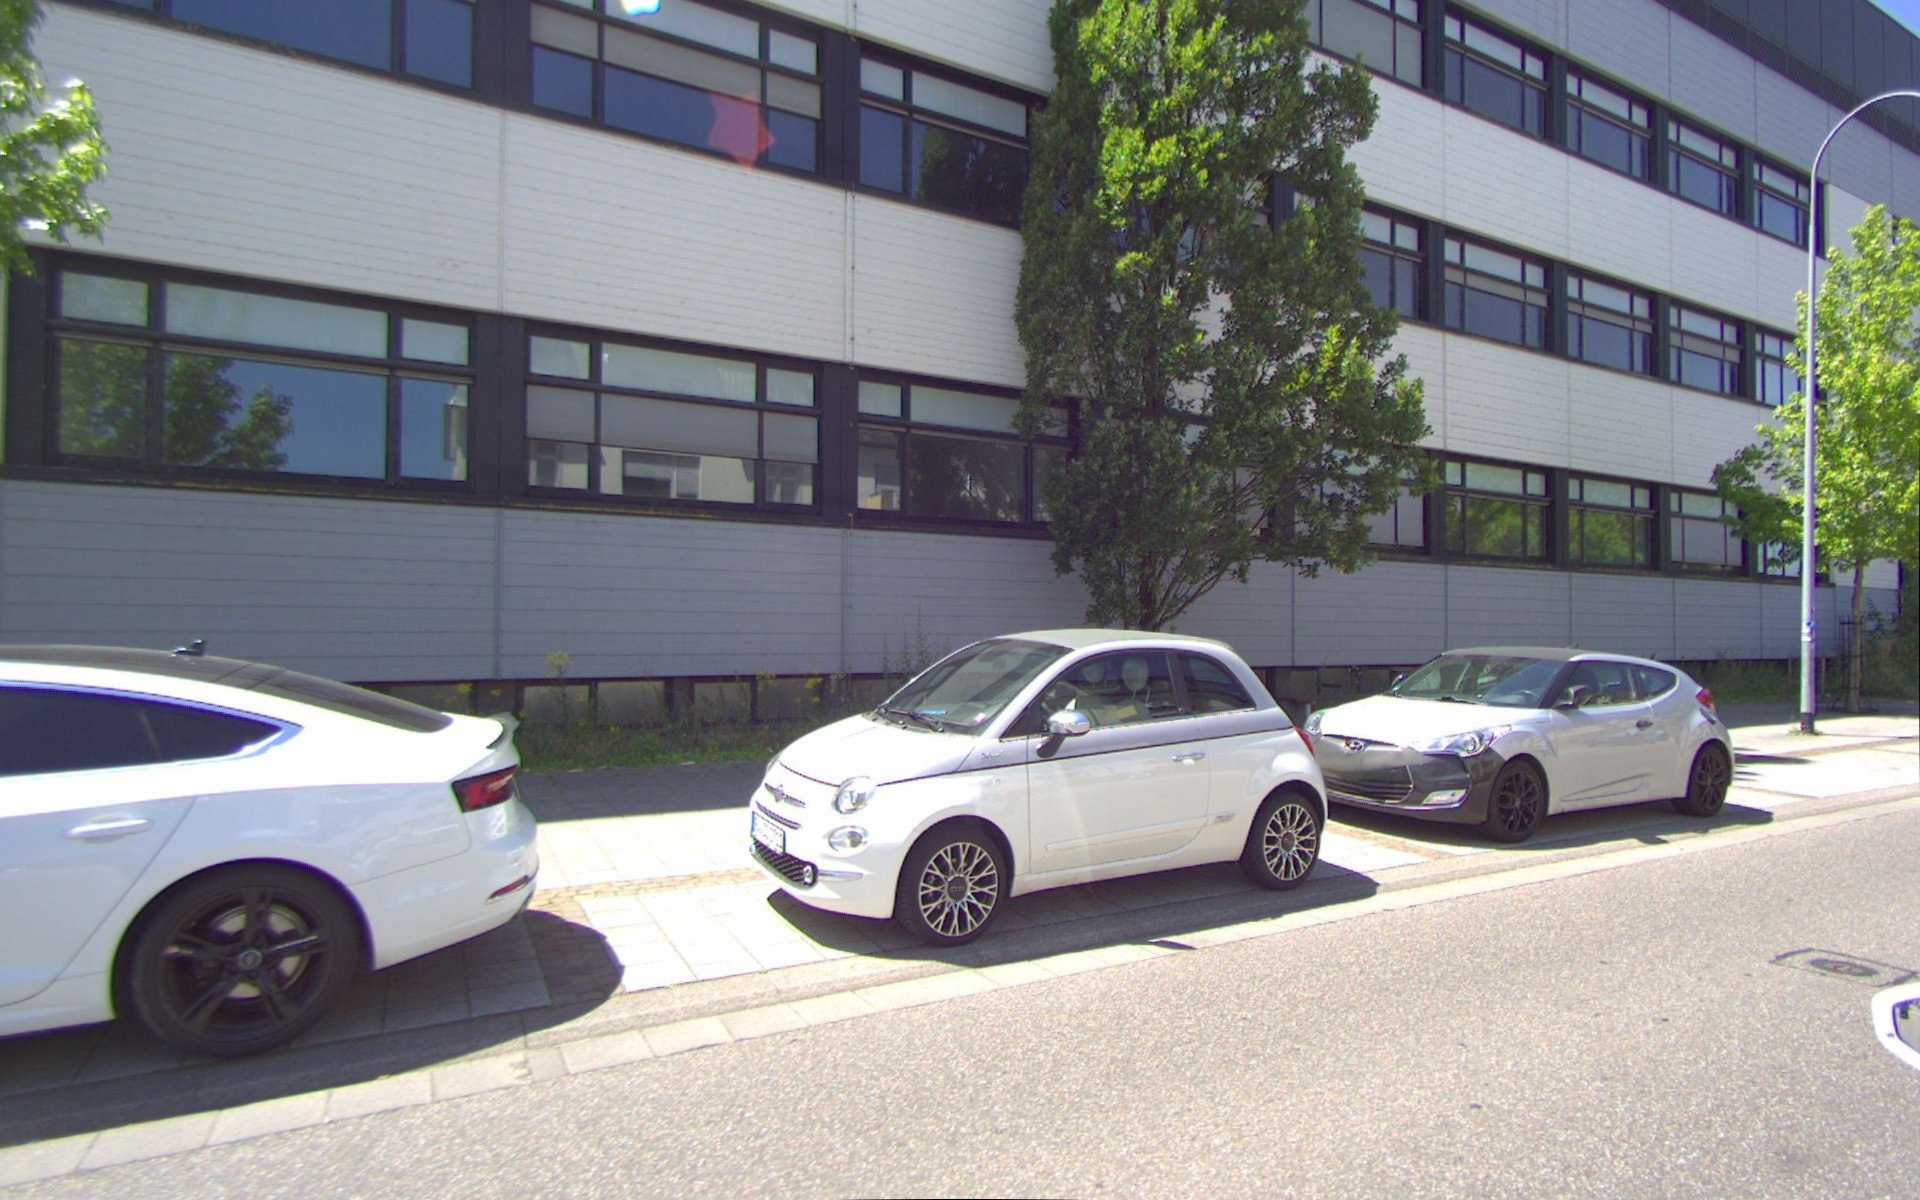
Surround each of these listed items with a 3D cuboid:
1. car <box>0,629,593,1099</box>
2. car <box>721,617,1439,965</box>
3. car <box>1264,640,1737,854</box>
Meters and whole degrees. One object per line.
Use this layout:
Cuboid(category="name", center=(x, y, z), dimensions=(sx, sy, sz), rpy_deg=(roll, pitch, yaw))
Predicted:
Cuboid(category="car", center=(-3.868, 0.833, 3.667), dimensions=(4.522, 1.430, 1.814), rpy_deg=(2, -1, -29))
Cuboid(category="car", center=(0.846, 0.915, 6.308), dimensions=(4.238, 1.532, 1.814), rpy_deg=(2, -1, -29))
Cuboid(category="car", center=(4.671, 1.083, 8.607), dimensions=(3.884, 1.428, 1.741), rpy_deg=(1, -1, -28))
